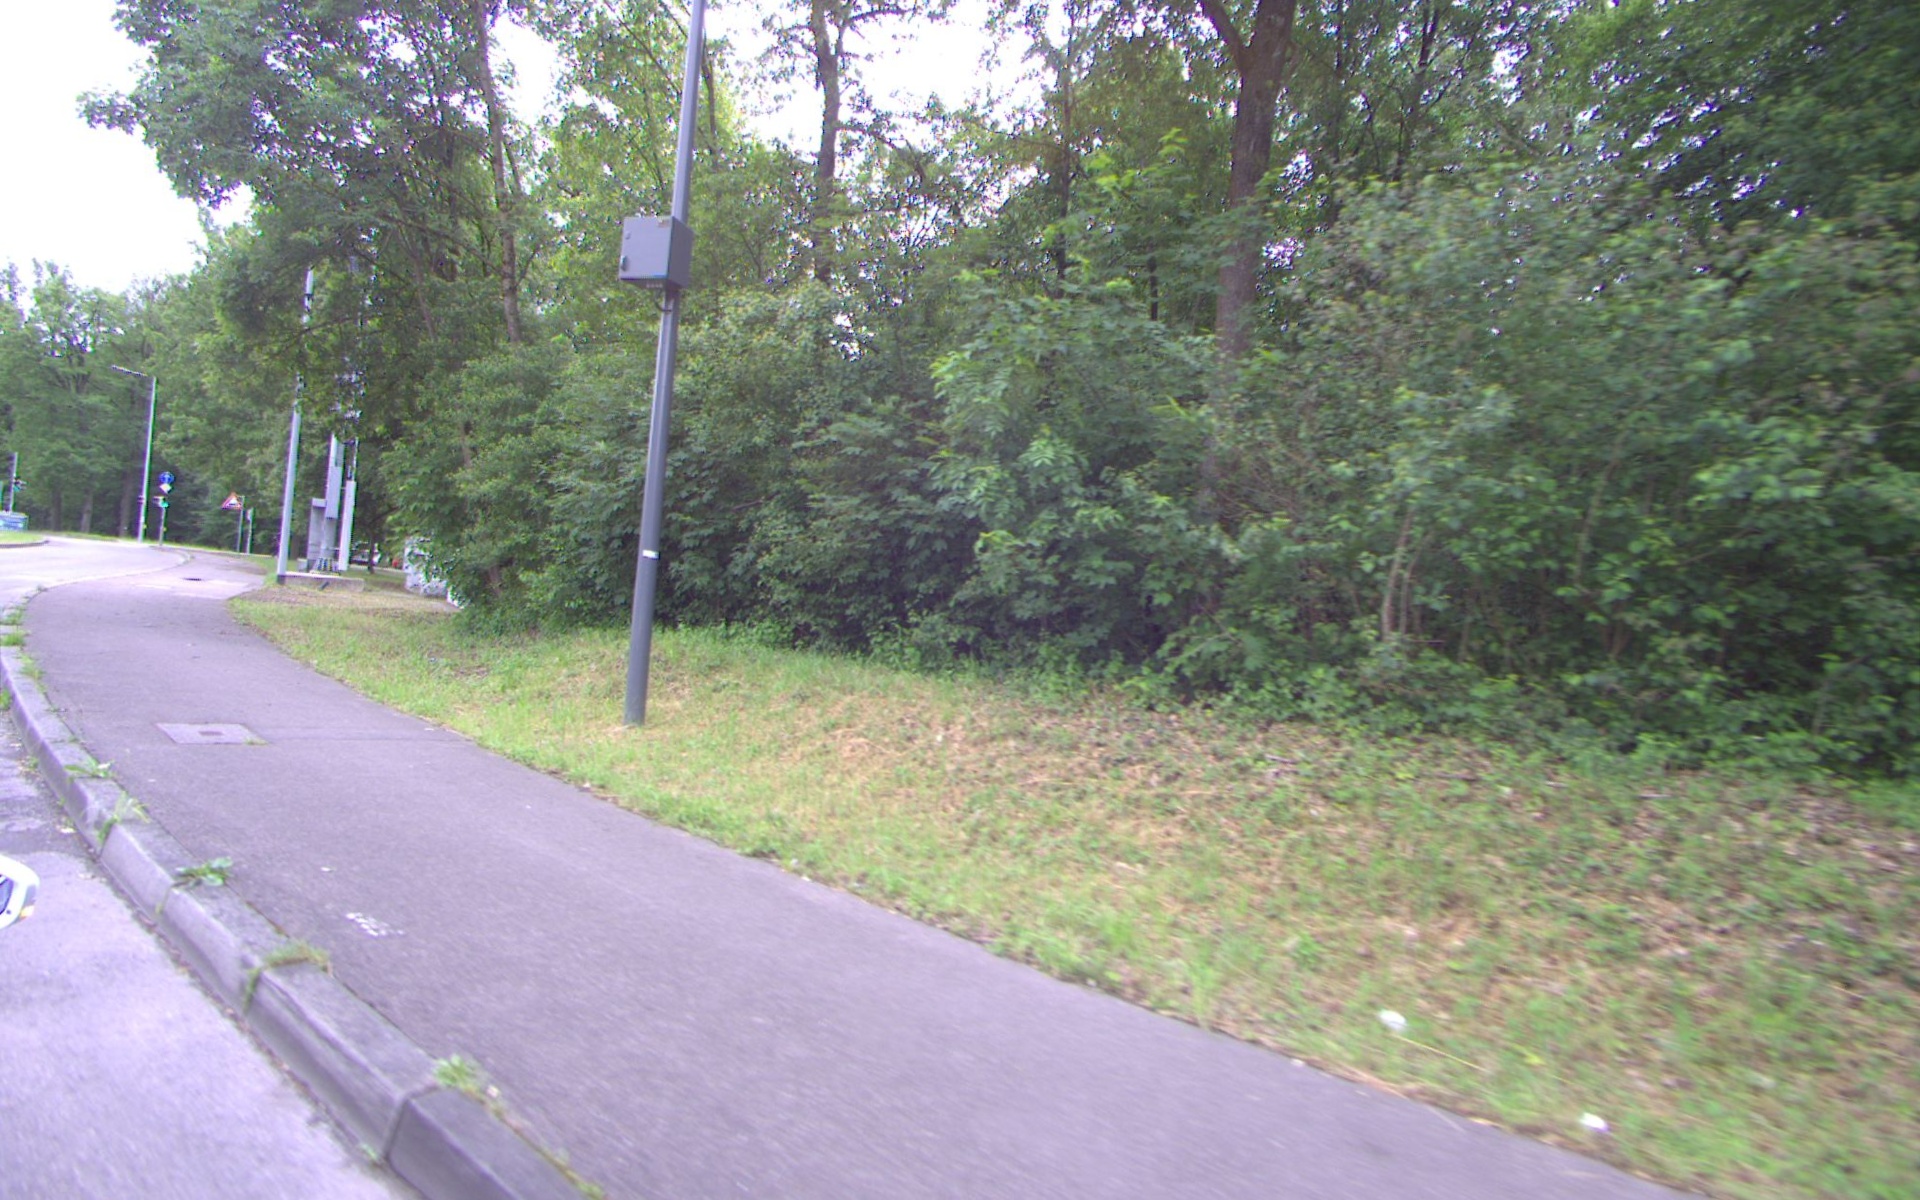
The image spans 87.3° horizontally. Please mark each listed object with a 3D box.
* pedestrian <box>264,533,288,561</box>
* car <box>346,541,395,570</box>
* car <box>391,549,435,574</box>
[{"bbox_3d":[-39.583,-3.069,58.218,0.831,1.525,0.787,6,0,-20],"label":"pedestrian"},{"bbox_3d":[-38.348,-2.865,65.539,1.813,1.555,3.984,6,-1,-19],"label":"car"},{"bbox_3d":[-36.245,-2.525,66.746,1.813,1.342,3.984,6,-1,-19],"label":"car"}]
